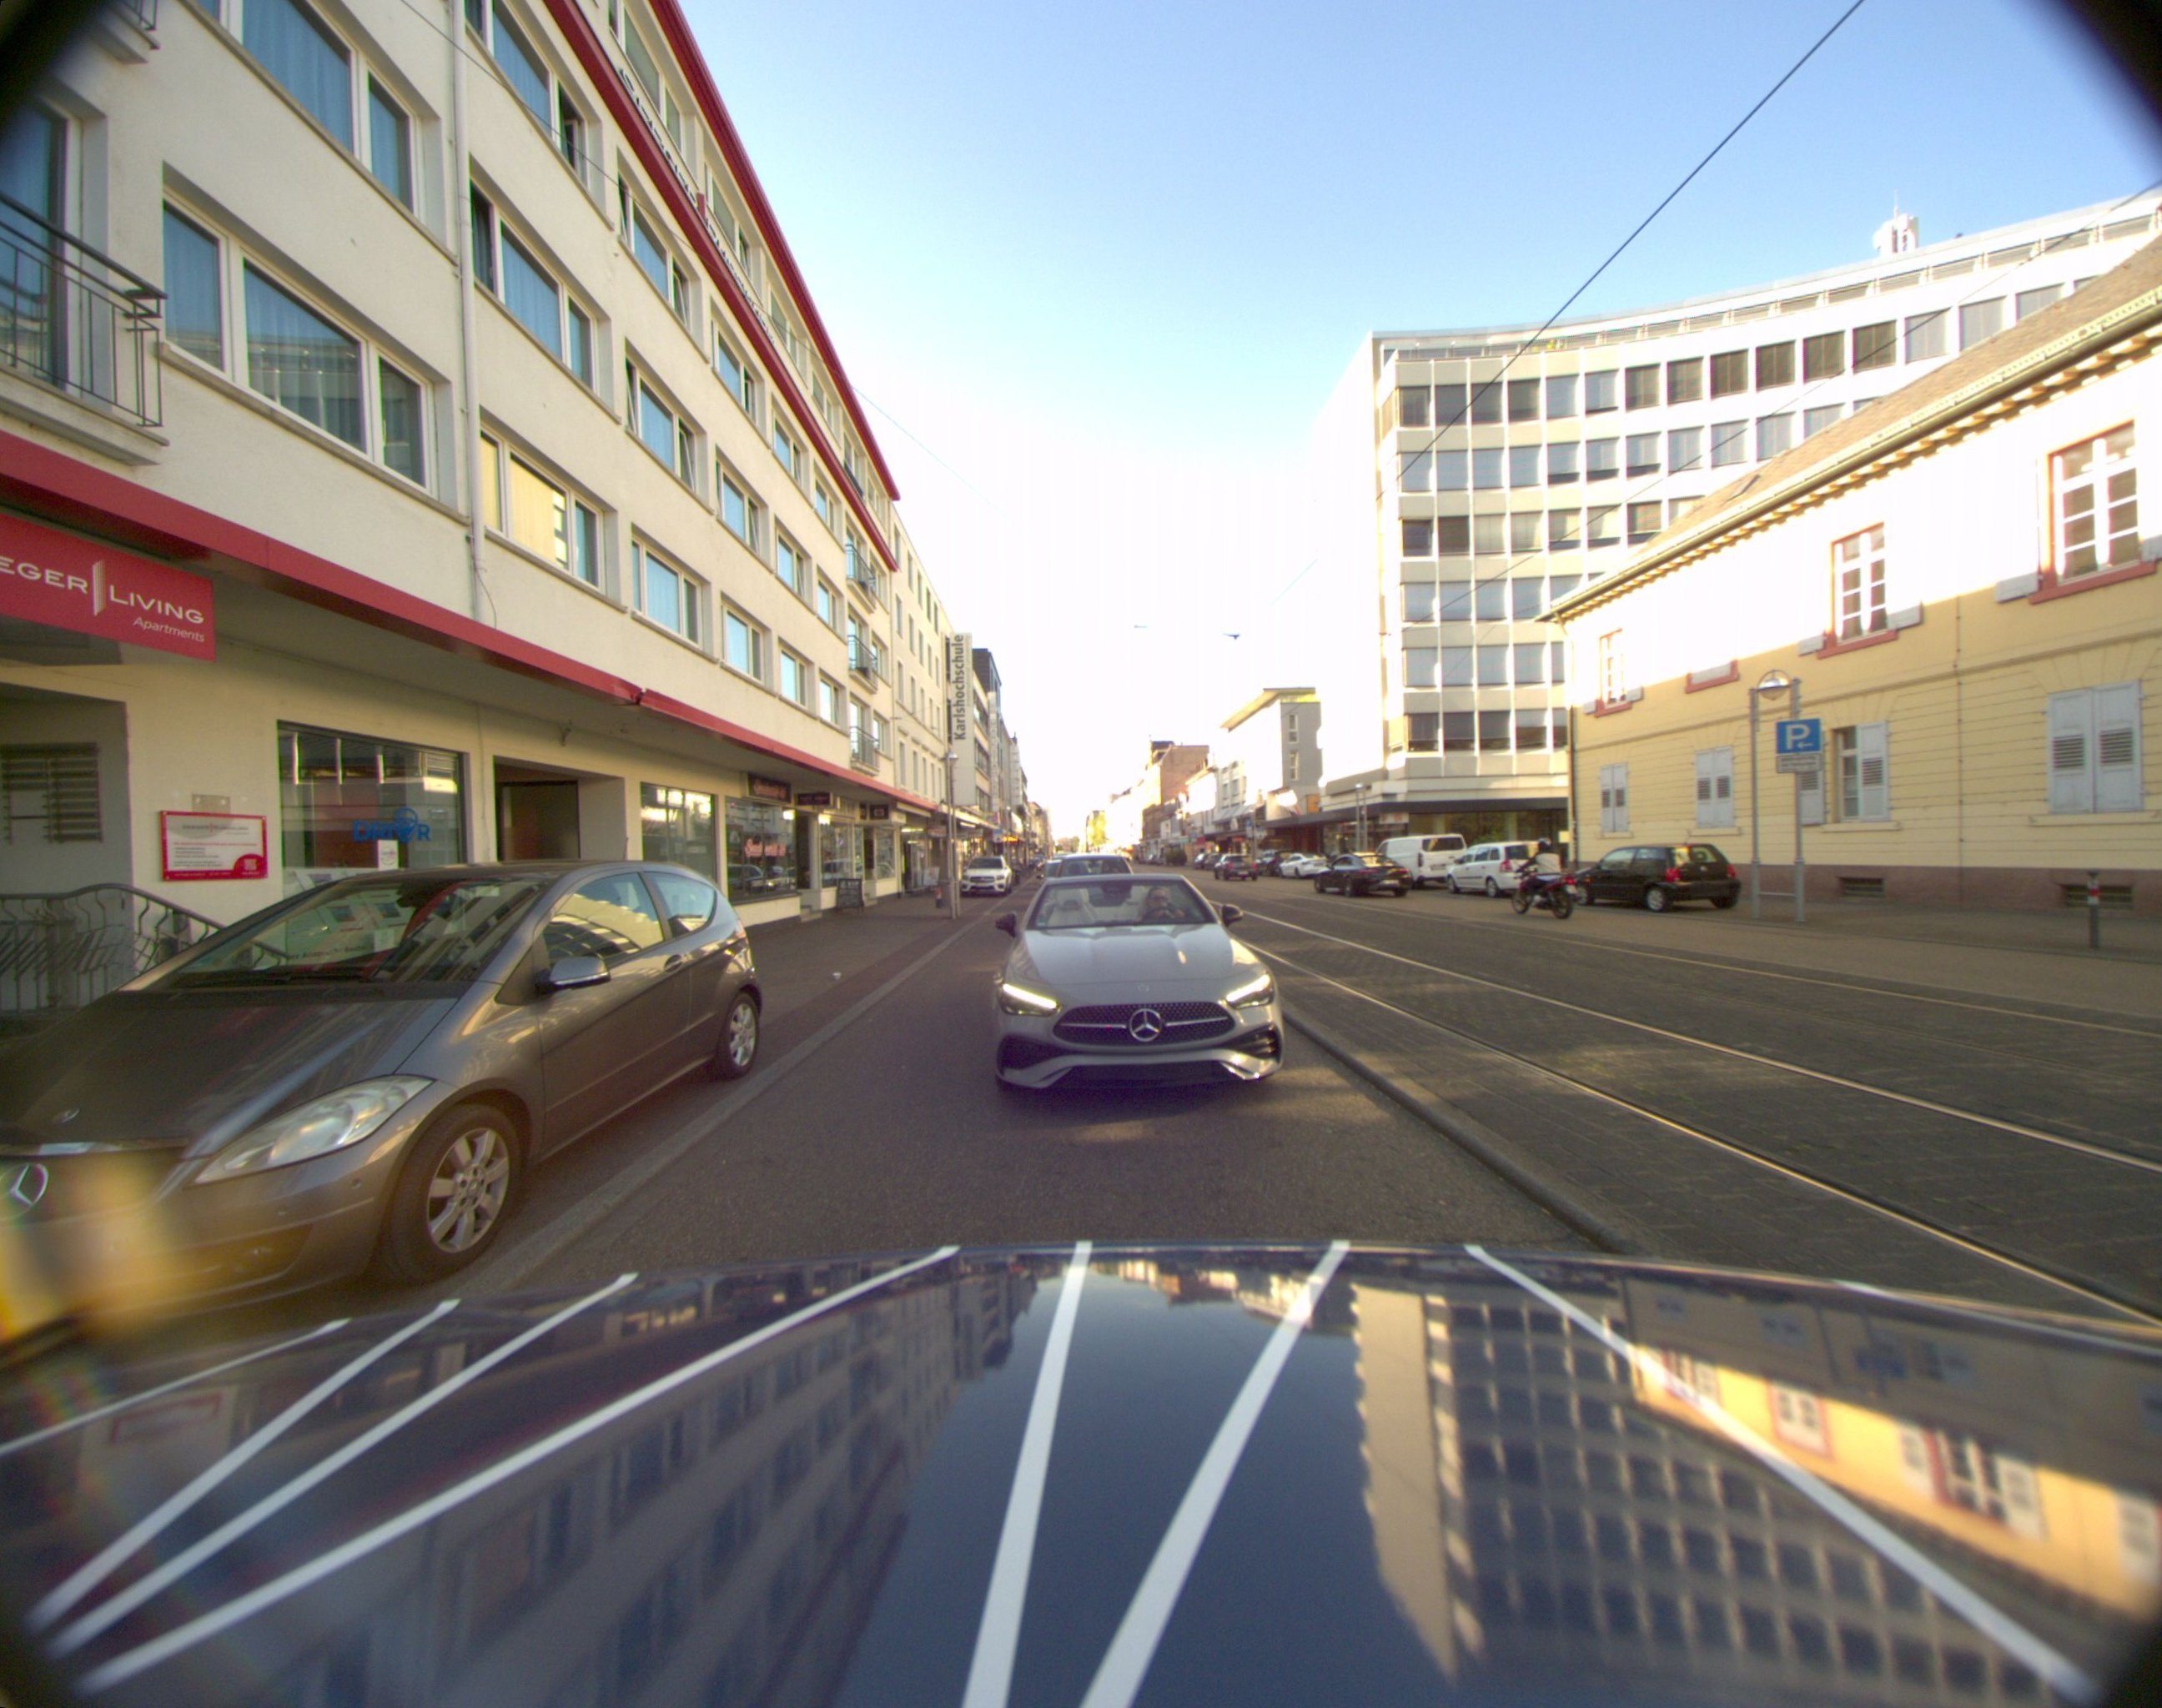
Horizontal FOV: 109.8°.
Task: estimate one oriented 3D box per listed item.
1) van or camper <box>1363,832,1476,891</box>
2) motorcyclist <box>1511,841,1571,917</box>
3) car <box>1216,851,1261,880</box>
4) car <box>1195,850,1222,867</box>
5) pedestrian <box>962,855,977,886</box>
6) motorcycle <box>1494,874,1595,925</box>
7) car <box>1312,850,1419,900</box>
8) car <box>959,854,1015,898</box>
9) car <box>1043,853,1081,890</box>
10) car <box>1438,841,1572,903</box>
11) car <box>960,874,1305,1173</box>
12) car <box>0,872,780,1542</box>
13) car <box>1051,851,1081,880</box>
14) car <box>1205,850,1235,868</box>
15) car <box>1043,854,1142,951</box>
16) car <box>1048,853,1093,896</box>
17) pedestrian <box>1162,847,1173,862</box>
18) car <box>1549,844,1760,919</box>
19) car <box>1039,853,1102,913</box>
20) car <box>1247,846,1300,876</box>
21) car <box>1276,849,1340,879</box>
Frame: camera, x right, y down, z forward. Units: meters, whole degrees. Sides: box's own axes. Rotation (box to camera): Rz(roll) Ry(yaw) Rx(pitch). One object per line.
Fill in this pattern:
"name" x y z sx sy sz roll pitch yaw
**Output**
"van or camper" 12.700 0.243 28.879 1.960 1.962 4.796 -3 1 -2
"motorcyclist" 9.771 0.521 16.155 0.654 1.549 0.883 -2 1 -8
"car" 8.675 0.608 42.189 1.781 1.500 3.860 -1 0 1
"car" 11.867 0.396 70.996 1.786 1.511 3.832 -2 1 -1
"pedestrian" -6.726 0.981 45.892 0.706 1.807 0.807 -2 1 -3
"motorcycle" 9.789 0.932 16.161 0.601 0.921 2.154 -2 1 -7
"car" 9.484 0.643 25.737 1.781 1.500 4.669 -1 0 -1
"car" -3.805 0.842 31.381 1.783 1.654 4.162 0 1 0
"car" -0.895 0.812 37.430 1.737 1.654 3.781 0 1 0
"car" 12.780 0.481 23.233 1.781 1.611 4.175 -3 1 2
"car" 0.271 0.987 6.524 1.869 1.431 4.773 0 1 0
"car" -3.220 0.952 3.892 1.781 1.560 3.960 0 1 0
"car" -0.858 0.642 46.307 1.737 1.654 3.960 0 1 0
"car" 11.946 0.387 65.562 1.786 1.408 3.596 -2 1 -2
"car" 0.198 0.851 15.394 1.737 1.654 3.960 0 1 0
"car" -0.423 0.816 32.035 1.737 1.654 3.960 0 1 0
"pedestrian" 11.301 0.063 99.035 1.011 1.811 1.031 -3 1 -18
"car" 12.882 0.535 17.431 1.781 1.431 3.960 -3 1 0
"car" -0.319 0.832 23.646 1.783 1.654 3.960 0 1 0
"car" 11.971 0.403 47.546 1.931 1.632 4.280 -4 1 -3
"car" 12.527 0.499 42.218 1.931 1.444 4.291 -4 1 -5
